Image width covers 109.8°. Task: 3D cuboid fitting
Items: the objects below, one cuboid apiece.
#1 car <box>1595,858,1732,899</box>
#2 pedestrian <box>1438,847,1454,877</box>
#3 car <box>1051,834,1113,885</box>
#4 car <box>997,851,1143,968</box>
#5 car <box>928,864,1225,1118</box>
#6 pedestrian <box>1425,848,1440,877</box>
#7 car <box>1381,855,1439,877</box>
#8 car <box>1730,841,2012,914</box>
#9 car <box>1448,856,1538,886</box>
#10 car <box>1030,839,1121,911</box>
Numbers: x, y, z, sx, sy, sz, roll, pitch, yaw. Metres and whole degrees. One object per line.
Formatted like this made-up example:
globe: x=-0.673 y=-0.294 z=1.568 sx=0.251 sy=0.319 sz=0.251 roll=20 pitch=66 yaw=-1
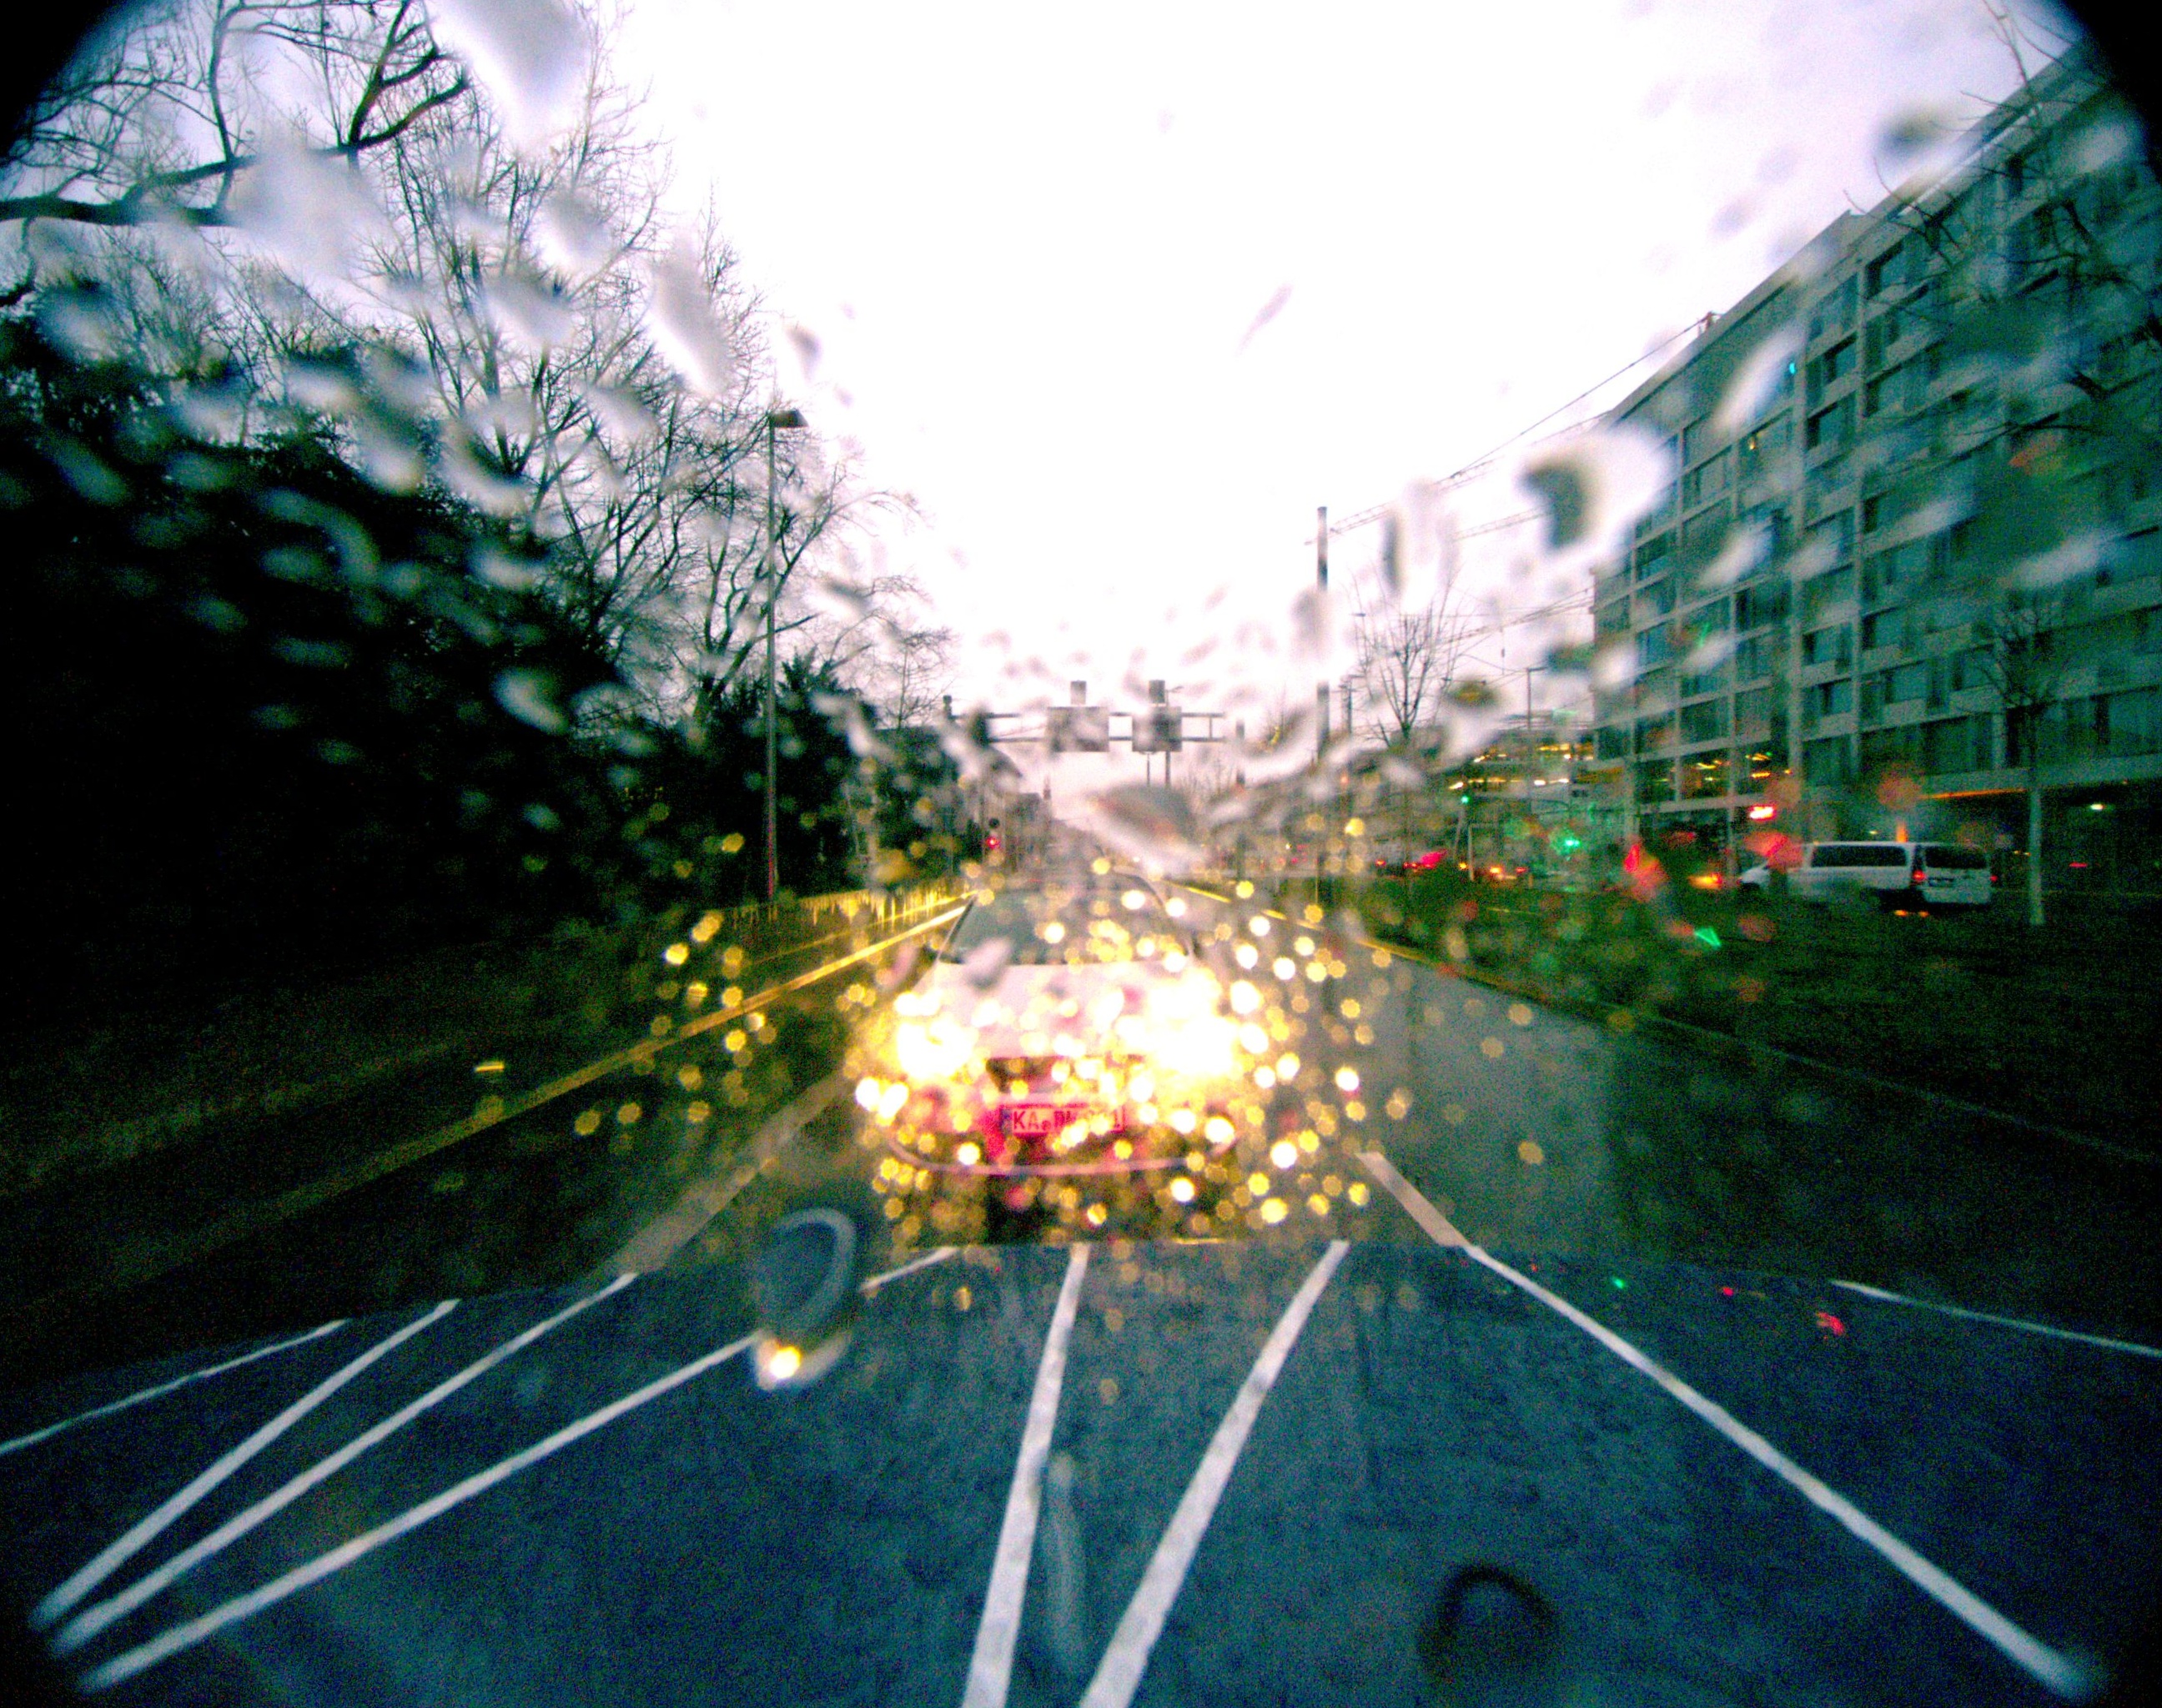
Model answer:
car: x=20.403 y=0.813 z=26.870 sx=1.816 sy=1.300 sz=4.000 roll=0 pitch=0 yaw=1
pedestrian: x=22.940 y=0.505 z=47.770 sx=0.709 sy=1.794 sz=0.770 roll=-2 pitch=1 yaw=12
car: x=0.044 y=0.171 z=27.511 sx=1.998 sy=1.618 sz=4.268 roll=-2 pitch=0 yaw=0
car: x=-0.210 y=0.802 z=13.277 sx=2.073 sy=1.618 sz=4.267 roll=-2 pitch=1 yaw=-1
car: x=-0.001 y=0.900 z=6.908 sx=1.886 sy=1.552 sz=4.171 roll=0 pitch=0 yaw=1
pedestrian: x=22.260 y=0.527 z=48.101 sx=0.709 sy=1.794 sz=0.771 roll=-2 pitch=1 yaw=15
car: x=20.486 y=0.736 z=47.478 sx=1.816 sy=1.267 sz=3.999 roll=0 pitch=0 yaw=-1
car: x=20.033 y=0.525 z=19.717 sx=2.086 sy=1.659 sz=5.043 roll=0 pitch=0 yaw=1
car: x=20.256 y=0.801 z=37.555 sx=2.111 sy=1.392 sz=4.257 roll=0 pitch=0 yaw=-1
car: x=-0.096 y=0.478 z=20.059 sx=2.073 sy=1.618 sz=4.268 roll=-2 pitch=1 yaw=1
